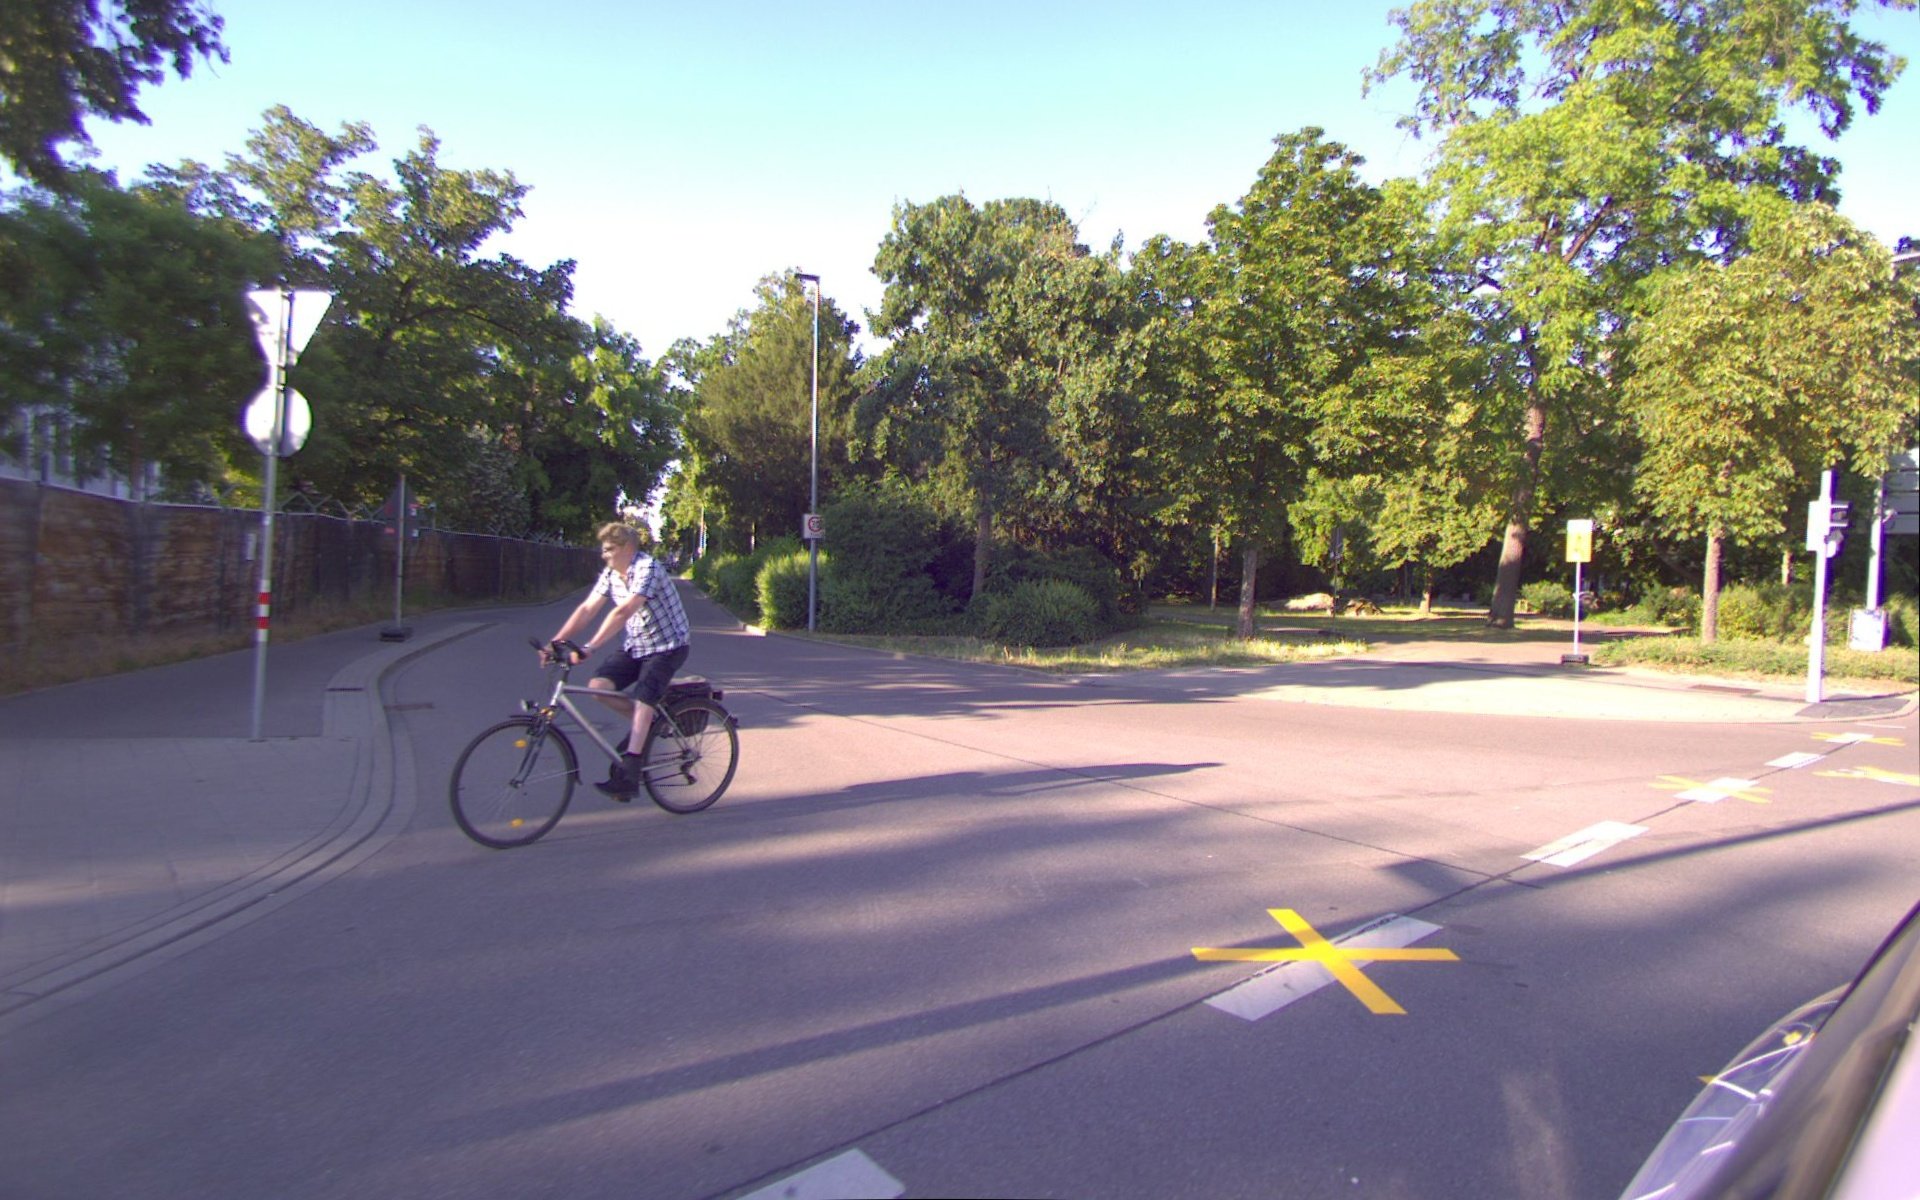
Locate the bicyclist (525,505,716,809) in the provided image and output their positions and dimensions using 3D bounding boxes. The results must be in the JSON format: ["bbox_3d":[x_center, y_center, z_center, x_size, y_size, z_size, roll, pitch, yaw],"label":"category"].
[{"bbox_3d":[-1.993,0.295,5.957,0.888,1.634,0.584,0,2,-43],"label":"bicyclist"}]

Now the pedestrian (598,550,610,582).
[{"bbox_3d":[-23.422,-2.239,66.614,0.667,2.015,1.002,1,1,-17],"label":"pedestrian"}]

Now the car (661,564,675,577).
[{"bbox_3d":[-41.168,-4.165,142.555,1.811,1.760,4.010,1,2,-16],"label":"car"}]

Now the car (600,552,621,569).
[{"bbox_3d":[-36.583,-4.086,106.024,1.958,1.671,4.009,0,1,-18],"label":"car"}]

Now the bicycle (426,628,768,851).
[{"bbox_3d":[-2.071,0.740,5.990,1.879,1.074,0.428,0,2,-43],"label":"bicycle"}]
